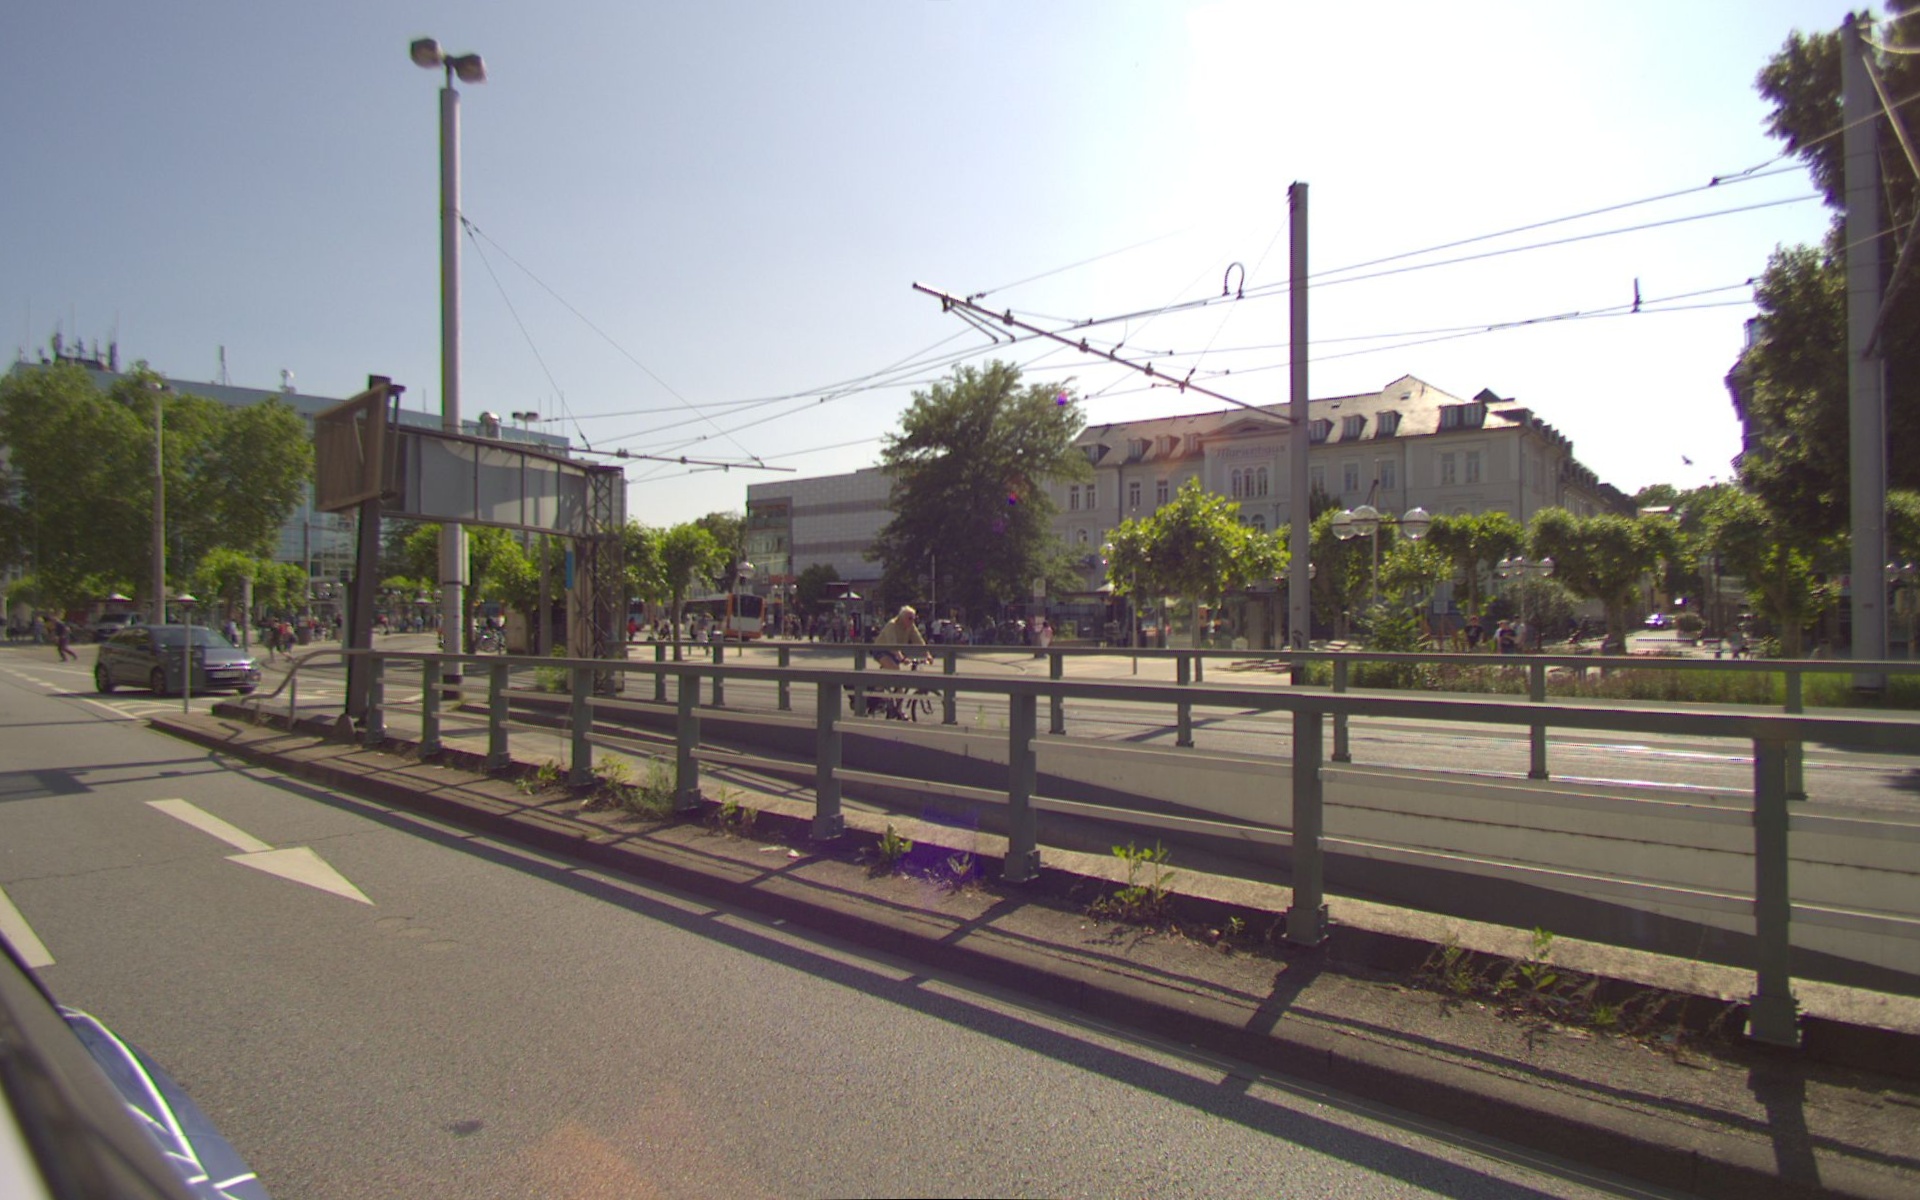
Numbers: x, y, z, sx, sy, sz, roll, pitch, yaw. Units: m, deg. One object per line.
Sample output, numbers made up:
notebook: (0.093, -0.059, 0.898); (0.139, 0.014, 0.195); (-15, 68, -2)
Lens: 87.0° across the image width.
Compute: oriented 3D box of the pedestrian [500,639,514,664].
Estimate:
pedestrian: (-33.288, 3.807, 74.348); (0.675, 1.809, 0.621); (-1, -4, 19)

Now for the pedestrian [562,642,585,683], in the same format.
pedestrian: (-15.527, 2.501, 40.682); (0.597, 1.622, 0.574); (0, -4, 12)

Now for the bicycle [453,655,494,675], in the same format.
bicycle: (-24.145, 3.234, 50.245); (0.544, 0.862, 1.853); (-1, 0, 28)

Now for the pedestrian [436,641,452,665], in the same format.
pedestrian: (-30.965, 3.184, 60.726); (0.549, 1.477, 0.621); (-1, -4, 19)

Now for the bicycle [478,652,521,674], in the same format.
bicycle: (-21.635, 2.940, 47.571); (0.579, 0.876, 1.853); (-1, 0, 28)

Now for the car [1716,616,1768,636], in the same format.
car: (78.003, 2.579, 100.978); (3.998, 1.929, 1.973); (-1, 0, 41)

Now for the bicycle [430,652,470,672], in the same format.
bicycle: (-25.937, 3.143, 51.514); (0.544, 0.862, 1.853); (-1, 0, 28)

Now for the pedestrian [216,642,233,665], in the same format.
pedestrian: (-40.277, 2.914, 55.411); (0.568, 1.243, 0.555); (1, -3, -15)

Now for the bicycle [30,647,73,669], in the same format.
bicycle: (-50.367, 3.208, 56.119); (0.482, 1.156, 1.735); (-1, -1, 39)

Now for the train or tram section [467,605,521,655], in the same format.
train or tram section: (-39.113, 2.420, 85.239); (2.578, 3.856, 9.546); (-2, 0, -15)

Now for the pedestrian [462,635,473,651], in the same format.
pedestrian: (-45.692, 3.968, 93.856); (0.555, 1.483, 0.747); (-1, 0, 41)

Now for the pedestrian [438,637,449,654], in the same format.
pedestrian: (-47.557, 4.155, 93.162); (0.555, 1.483, 0.747); (-1, 0, 41)

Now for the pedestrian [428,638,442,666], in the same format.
pedestrian: (-31.592, 3.154, 60.936); (0.518, 1.678, 0.469); (-1, -4, 19)

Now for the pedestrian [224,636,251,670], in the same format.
pedestrian: (-35.821, 2.642, 50.186); (0.678, 1.671, 0.885); (-2, -3, 32)

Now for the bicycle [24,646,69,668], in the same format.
bicycle: (-51.408, 3.221, 56.961); (0.482, 1.156, 1.842); (-1, -1, 39)

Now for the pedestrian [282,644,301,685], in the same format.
pedestrian: (-26.979, 2.595, 40.860); (0.518, 1.622, 0.627); (3, -5, -39)

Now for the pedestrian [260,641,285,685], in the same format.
pedestrian: (-27.427, 2.523, 40.376); (0.581, 1.747, 0.524); (0, -4, 11)

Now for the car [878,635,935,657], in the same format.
car: (-4.018, 3.409, 75.296); (3.991, 1.519, 1.740); (-1, 0, 36)

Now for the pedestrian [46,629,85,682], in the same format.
pedestrian: (-34.826, 2.151, 39.403); (0.670, 2.023, 0.895); (0, -3, -3)

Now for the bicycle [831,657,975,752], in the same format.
bicycle: (-0.780, 1.360, 13.542); (1.873, 1.129, 0.809); (-1, -4, 41)

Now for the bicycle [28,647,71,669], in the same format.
bicycle: (-50.778, 3.205, 56.428); (0.482, 1.156, 1.735); (-1, -1, 39)

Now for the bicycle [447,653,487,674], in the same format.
bicycle: (-24.622, 3.164, 50.560); (0.544, 0.862, 1.853); (-1, 0, 28)

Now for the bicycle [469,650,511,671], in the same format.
bicycle: (-22.973, 2.962, 49.474); (0.579, 0.876, 1.853); (-1, 0, 28)

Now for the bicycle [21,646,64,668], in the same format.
bicycle: (-52.267, 3.238, 57.654); (0.482, 1.156, 1.735); (-1, -1, 39)

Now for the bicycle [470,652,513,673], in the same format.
bicycle: (-22.152, 2.953, 47.840); (0.579, 0.876, 1.853); (-1, 0, 28)

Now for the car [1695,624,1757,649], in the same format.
car: (64.976, 3.062, 85.867); (3.998, 1.929, 1.973); (-1, 0, 41)

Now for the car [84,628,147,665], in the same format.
car: (-52.472, 2.849, 62.977); (1.966, 2.029, 5.083); (-2, 0, -28)

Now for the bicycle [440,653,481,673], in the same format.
bicycle: (-25.280, 3.173, 51.233); (0.580, 0.878, 1.853); (-1, 0, 28)

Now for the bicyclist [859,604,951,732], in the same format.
bicyclist: (-0.735, 0.913, 13.557); (0.902, 1.634, 0.809); (-3, -6, 41)

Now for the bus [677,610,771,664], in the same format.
bus: (-17.154, 2.496, 72.518); (3.014, 3.445, 12.498); (-2, 0, -30)

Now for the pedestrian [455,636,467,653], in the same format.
pedestrian: (-45.591, 4.028, 92.464); (0.555, 1.483, 0.747); (-1, 0, 41)

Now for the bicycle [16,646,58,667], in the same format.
bicycle: (-52.925, 3.230, 58.040); (0.482, 1.156, 1.735); (-1, -1, 39)

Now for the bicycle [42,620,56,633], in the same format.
bicycle: (-82.954, 2.396, 92.134); (1.753, 1.156, 0.586); (-1, -1, 34)

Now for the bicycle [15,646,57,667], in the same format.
bicycle: (-53.340, 3.262, 58.444); (0.482, 1.156, 1.735); (-1, -1, 39)

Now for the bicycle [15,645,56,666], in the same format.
bicycle: (-54.235, 3.239, 59.402); (0.482, 1.156, 1.735); (-1, -1, 39)

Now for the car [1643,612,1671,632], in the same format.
car: (70.794, 2.212, 102.824); (1.998, 1.807, 3.948); (-1, 1, 39)

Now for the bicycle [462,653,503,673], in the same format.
bicycle: (-23.484, 3.098, 49.791); (0.544, 0.862, 1.853); (-1, 0, 28)

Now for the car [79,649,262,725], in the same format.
car: (-16.653, 1.765, 21.318); (3.984, 1.415, 1.683); (-1, -3, 30)
